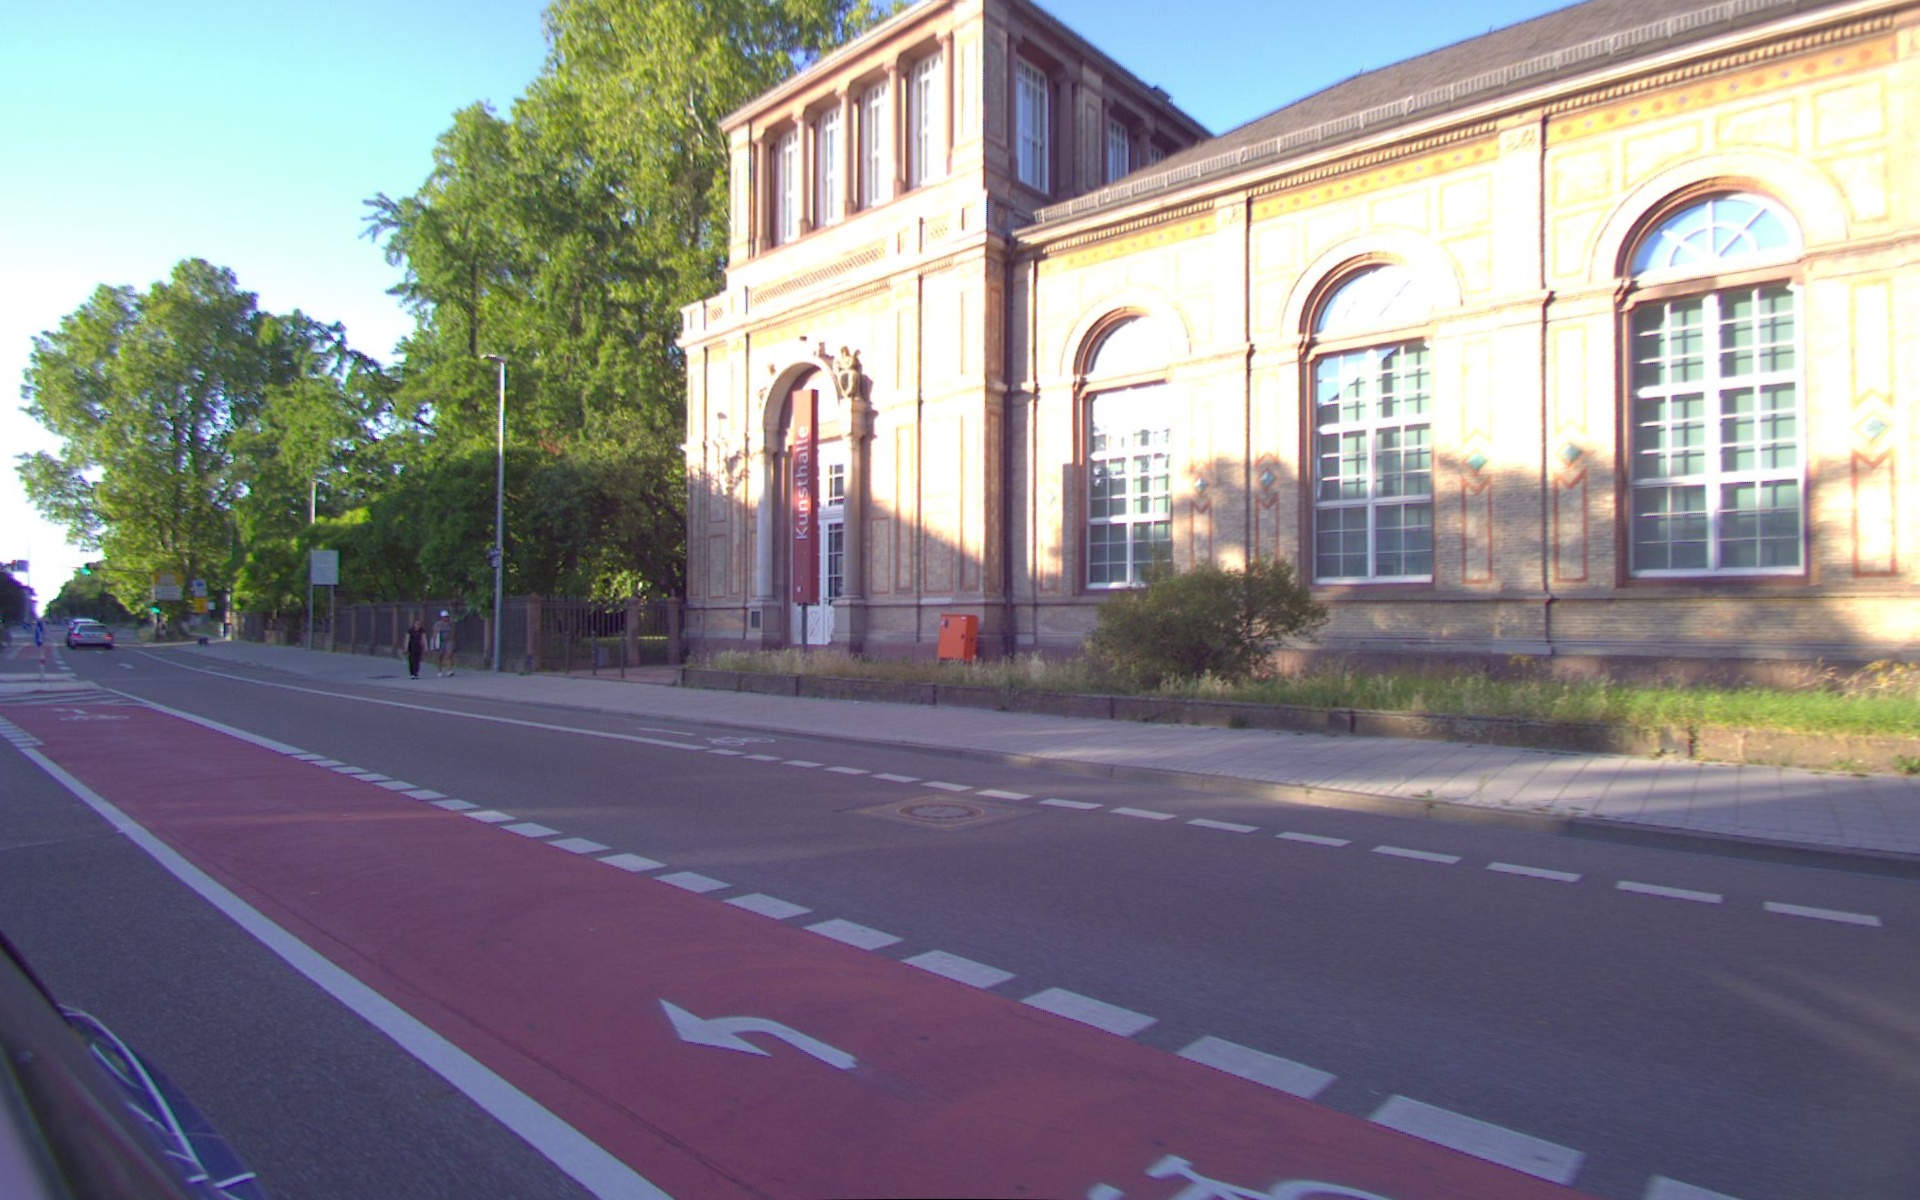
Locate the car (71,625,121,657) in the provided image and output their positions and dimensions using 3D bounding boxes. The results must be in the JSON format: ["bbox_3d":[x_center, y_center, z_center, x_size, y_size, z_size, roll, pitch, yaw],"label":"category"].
[{"bbox_3d":[-47.229,2.210,55.300,1.893,1.697,4.004,1,-2,-43],"label":"car"}]

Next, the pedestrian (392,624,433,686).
[{"bbox_3d":[-14.177,1.416,26.199,0.665,1.524,0.837,-4,0,-41],"label":"pedestrian"}]

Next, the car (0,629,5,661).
[{"bbox_3d":[-46.826,2.120,48.091,4.000,1.475,1.752,-1,-3,43],"label":"car"}]

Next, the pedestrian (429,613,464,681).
[{"bbox_3d":[-13.518,1.213,26.643,0.795,1.751,0.852,0,-1,-26],"label":"pedestrian"}]

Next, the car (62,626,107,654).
[{"bbox_3d":[-55.031,2.503,63.583,1.970,1.697,4.004,1,-2,-43],"label":"car"}]

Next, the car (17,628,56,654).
[{"bbox_3d":[-65.561,2.884,71.820,1.970,1.697,4.004,1,-2,-43],"label":"car"}]
